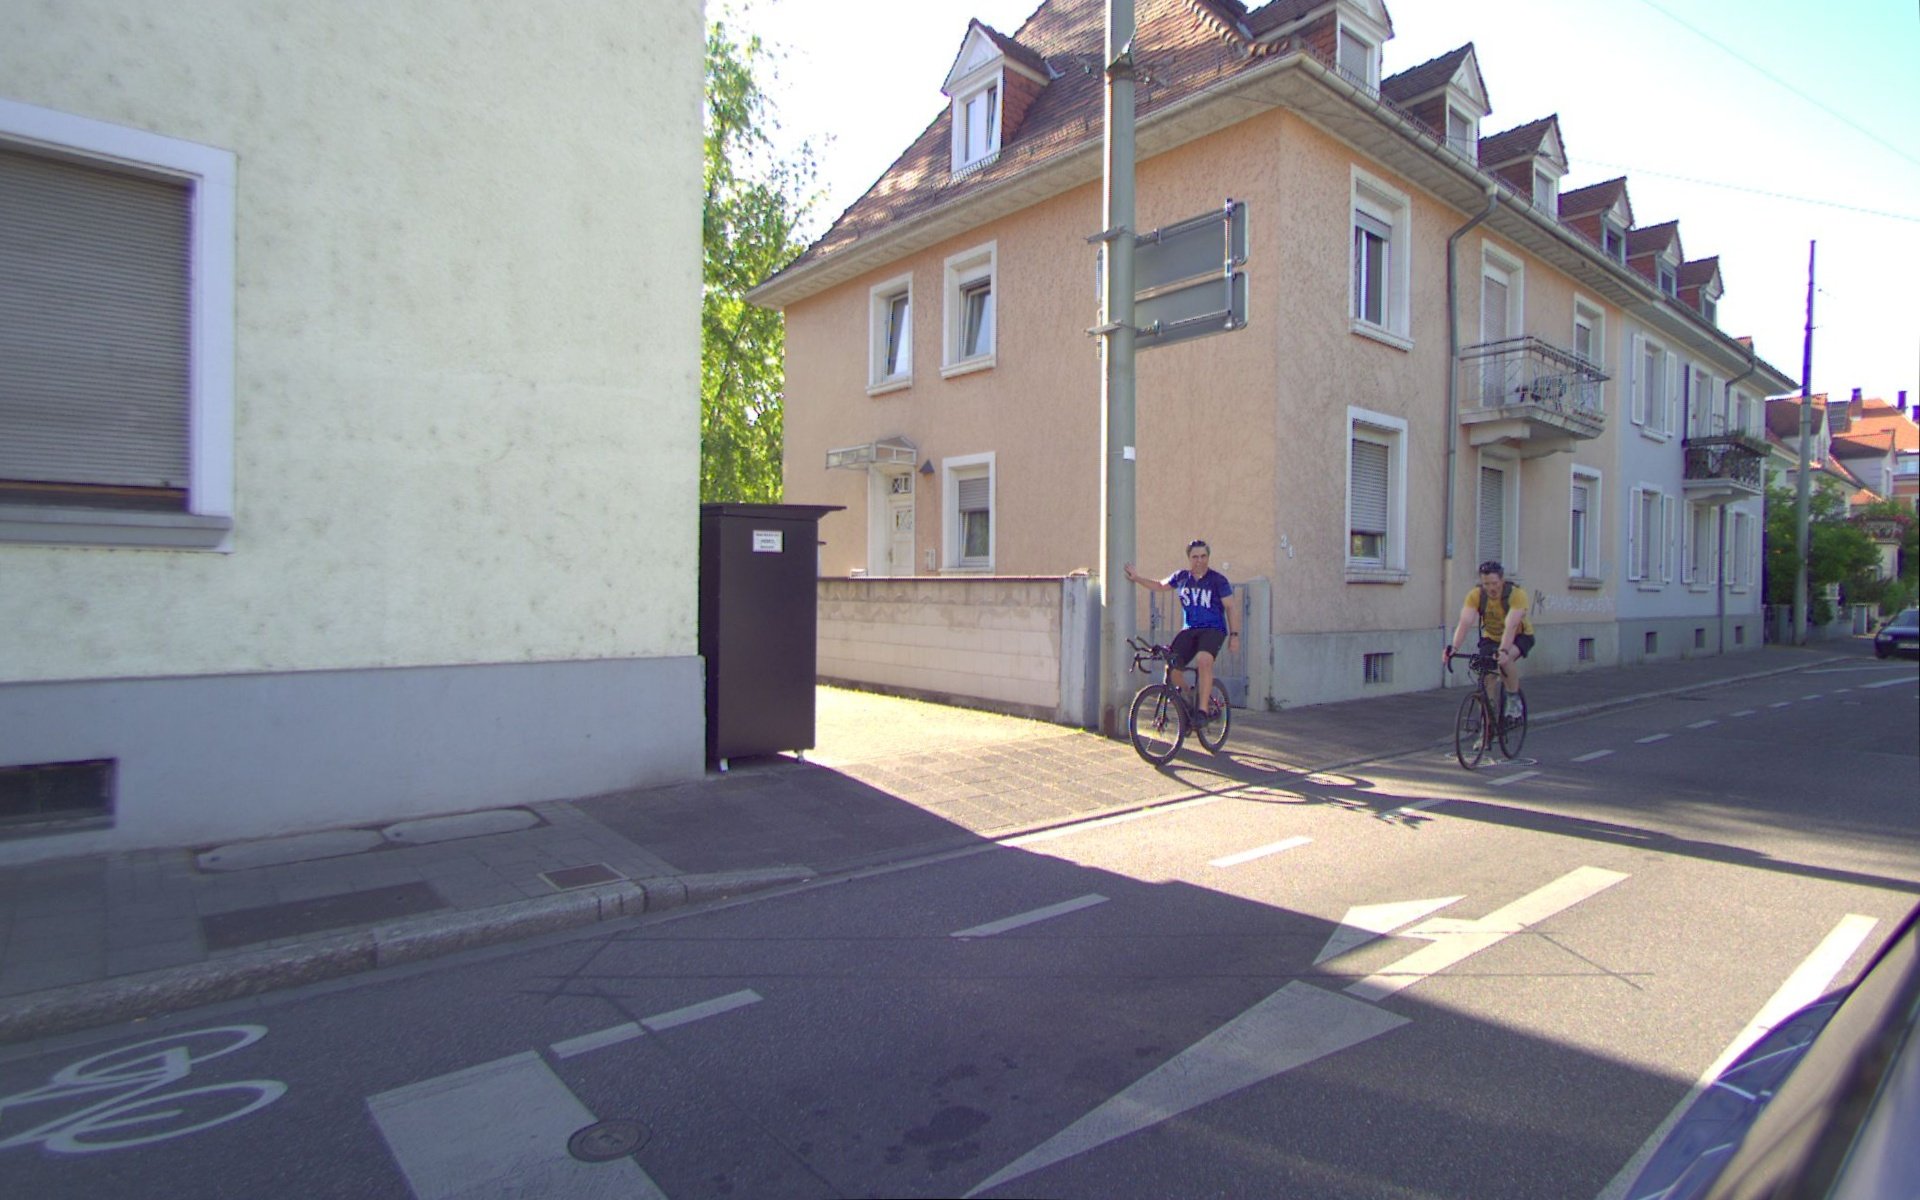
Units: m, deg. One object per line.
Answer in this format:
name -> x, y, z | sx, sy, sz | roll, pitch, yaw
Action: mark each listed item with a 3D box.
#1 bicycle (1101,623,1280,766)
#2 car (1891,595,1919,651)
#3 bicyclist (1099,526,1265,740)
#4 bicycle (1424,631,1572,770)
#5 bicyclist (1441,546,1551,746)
bicycle -> 2.074, 0.790, 8.988 | 1.689, 1.064, 0.595 | 0, 6, -41
car -> 26.645, 0.607, 27.331 | 3.932, 1.438, 1.845 | 0, 1, -42
bicyclist -> 2.006, 0.256, 9.228 | 0.838, 1.758, 1.072 | 0, 6, -40
bicycle -> 5.010, 0.875, 9.379 | 1.778, 1.101, 0.611 | 0, 1, -41
bicyclist -> 4.954, 0.392, 9.344 | 0.939, 1.743, 0.582 | 0, 1, -41
